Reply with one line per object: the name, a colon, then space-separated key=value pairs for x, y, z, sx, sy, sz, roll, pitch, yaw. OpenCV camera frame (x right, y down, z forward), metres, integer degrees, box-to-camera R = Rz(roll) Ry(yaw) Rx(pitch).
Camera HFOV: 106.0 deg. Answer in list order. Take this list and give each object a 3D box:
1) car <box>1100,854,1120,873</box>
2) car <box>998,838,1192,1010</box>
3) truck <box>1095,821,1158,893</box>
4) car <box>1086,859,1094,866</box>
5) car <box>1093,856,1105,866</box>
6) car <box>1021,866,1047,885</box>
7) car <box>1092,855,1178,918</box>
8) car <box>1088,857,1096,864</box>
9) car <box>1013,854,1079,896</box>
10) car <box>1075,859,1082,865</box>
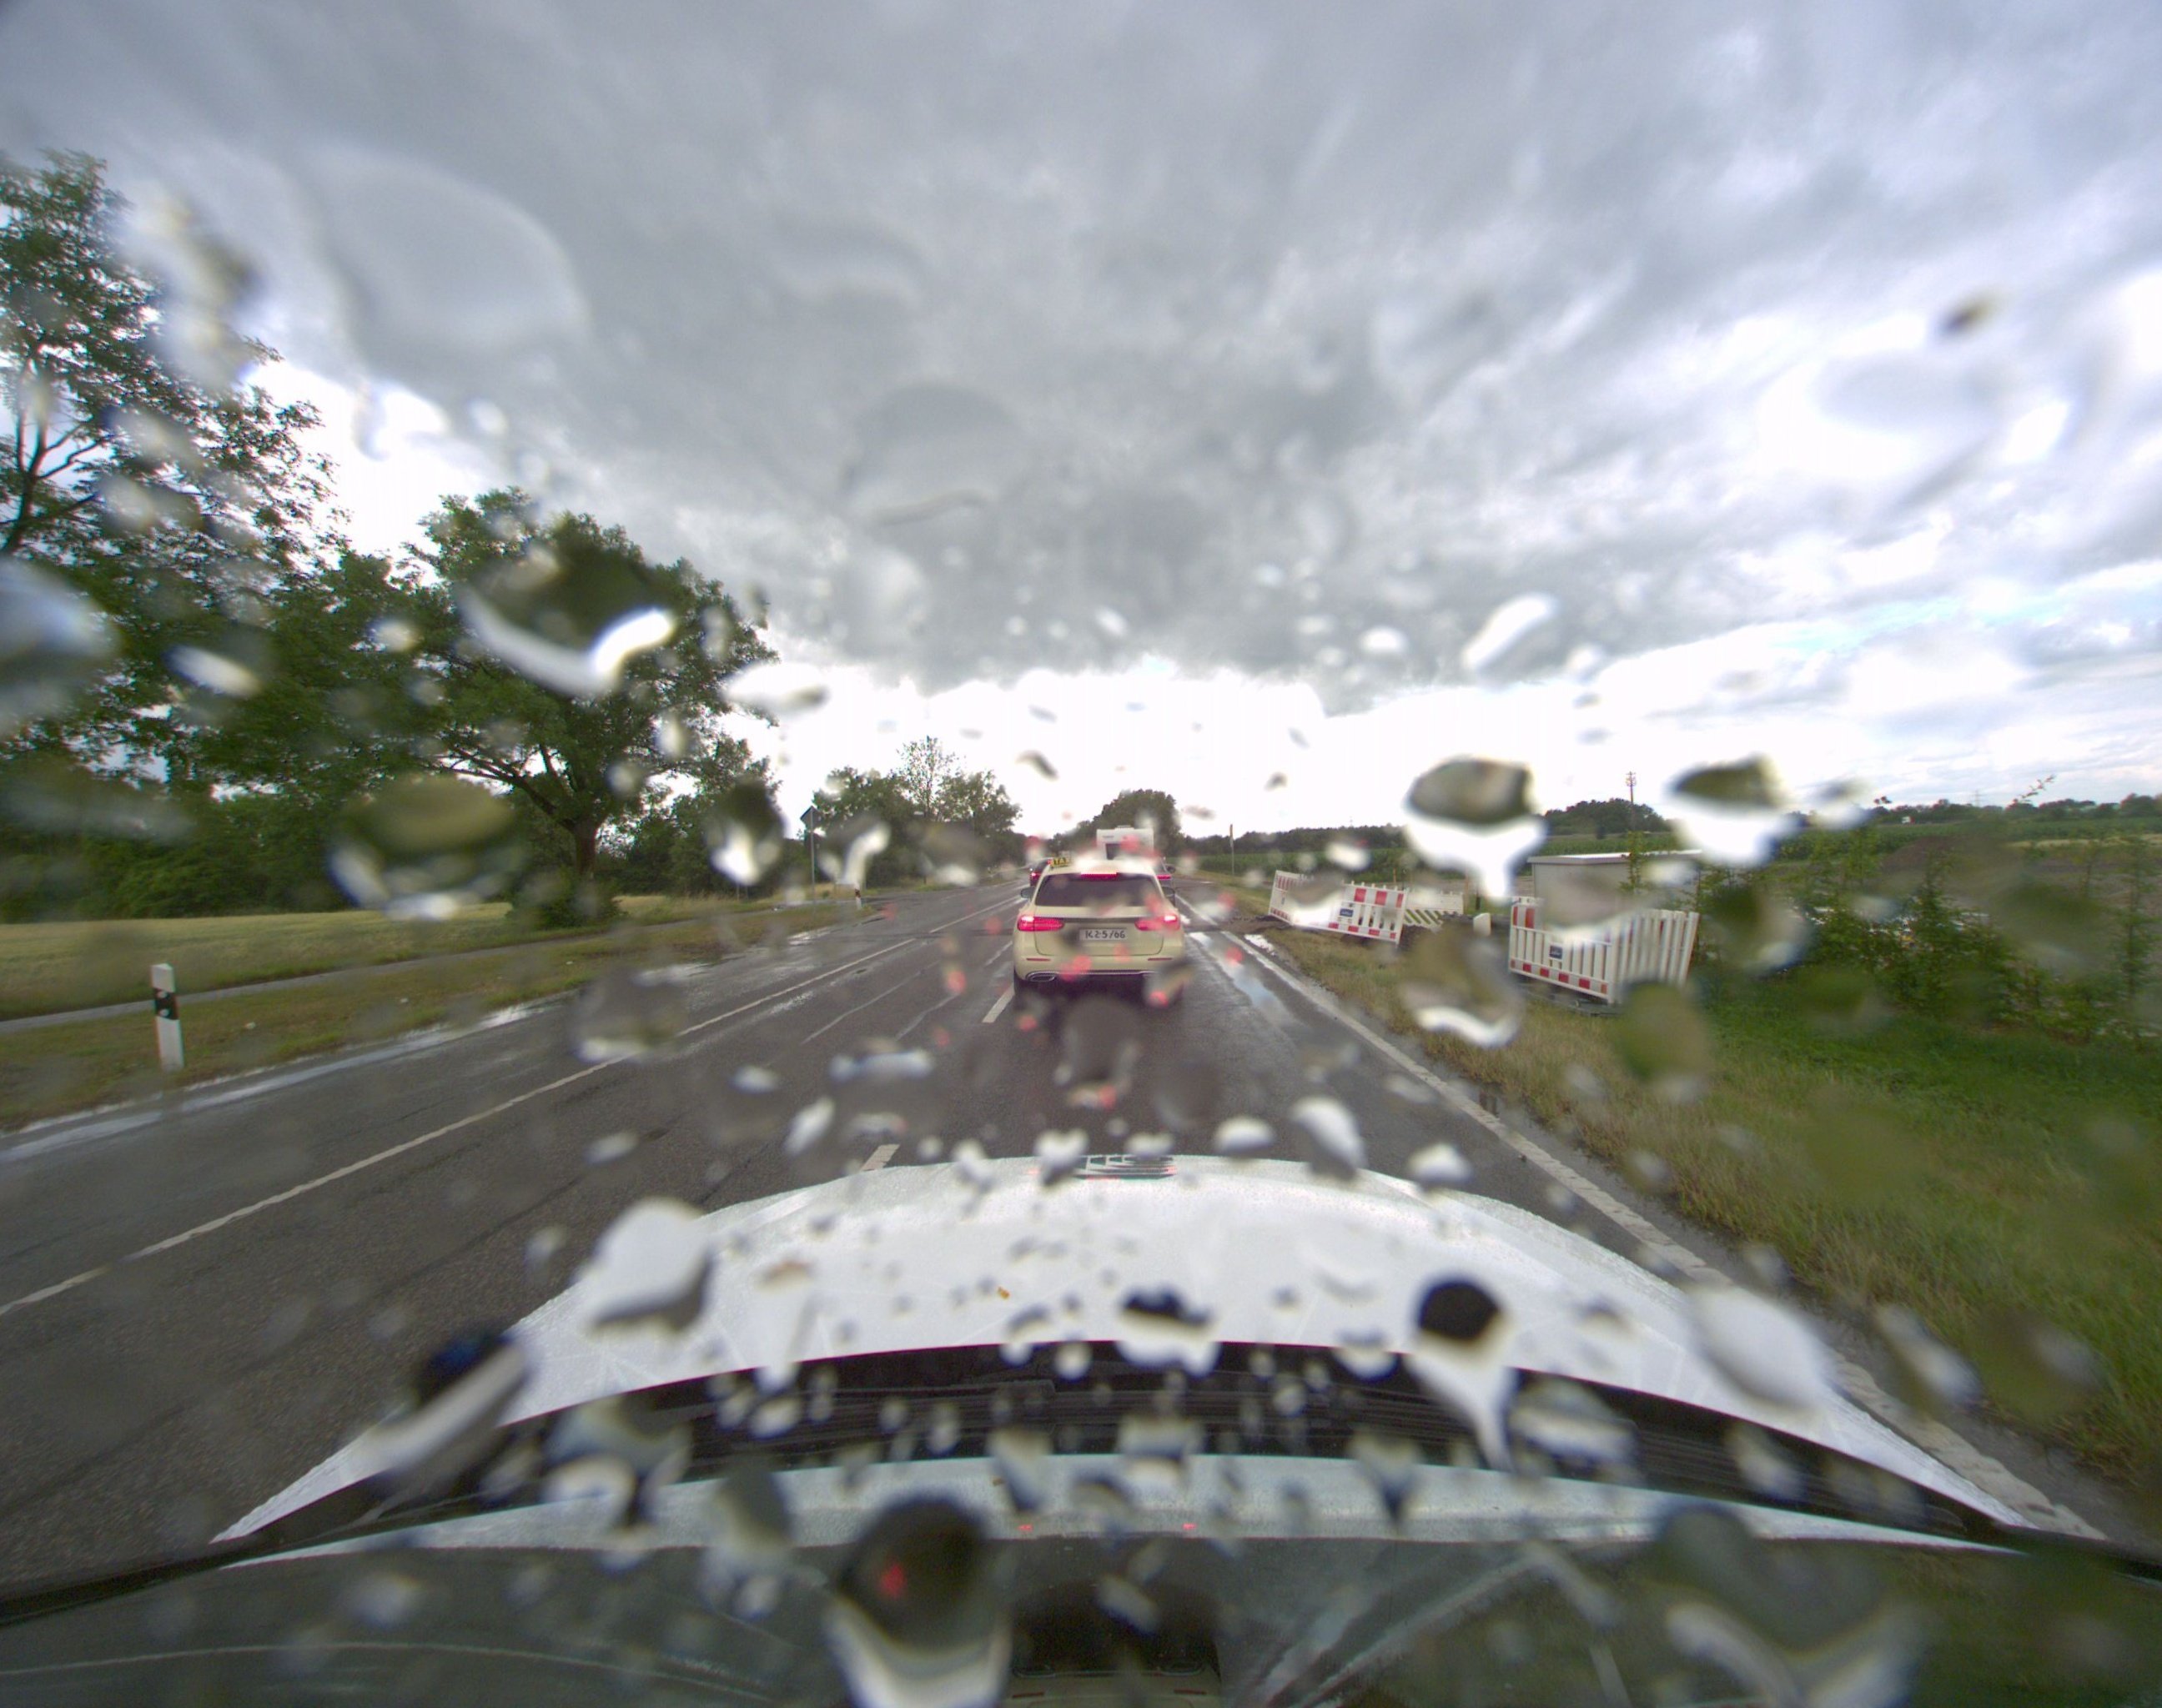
car: x=3.057 y=0.996 z=85.347 sx=1.908 sy=1.841 sz=3.797 roll=-2 pitch=0 yaw=2
car: x=0.204 y=0.683 z=9.818 sx=1.835 sy=1.618 sz=4.002 roll=-1 pitch=0 yaw=2
truck: x=1.917 y=0.130 z=35.717 sx=2.354 sy=2.729 sz=7.317 roll=-2 pitch=0 yaw=2
car: x=2.214 y=2.175 z=209.941 sx=1.890 sy=1.895 sz=3.841 roll=-2 pitch=0 yaw=-1
car: x=3.508 y=1.267 z=155.724 sx=1.988 sy=1.772 sz=3.997 roll=-2 pitch=0 yaw=-2
car: x=-3.868 y=1.727 z=67.009 sx=1.713 sy=1.404 sz=4.044 roll=-4 pitch=0 yaw=1
car: x=1.328 y=0.768 z=21.032 sx=1.986 sy=1.462 sz=4.002 roll=0 pitch=0 yaw=2
car: x=2.705 y=1.589 z=196.941 sx=1.745 sy=1.662 sz=3.668 roll=-2 pitch=0 yaw=-3
car: x=-1.333 y=0.816 z=33.124 sx=2.293 sy=1.547 sz=4.634 roll=0 pitch=0 yaw=2
car: x=-0.638 y=2.542 z=251.335 sx=1.888 sy=1.839 sz=3.883 roll=-2 pitch=0 yaw=2
